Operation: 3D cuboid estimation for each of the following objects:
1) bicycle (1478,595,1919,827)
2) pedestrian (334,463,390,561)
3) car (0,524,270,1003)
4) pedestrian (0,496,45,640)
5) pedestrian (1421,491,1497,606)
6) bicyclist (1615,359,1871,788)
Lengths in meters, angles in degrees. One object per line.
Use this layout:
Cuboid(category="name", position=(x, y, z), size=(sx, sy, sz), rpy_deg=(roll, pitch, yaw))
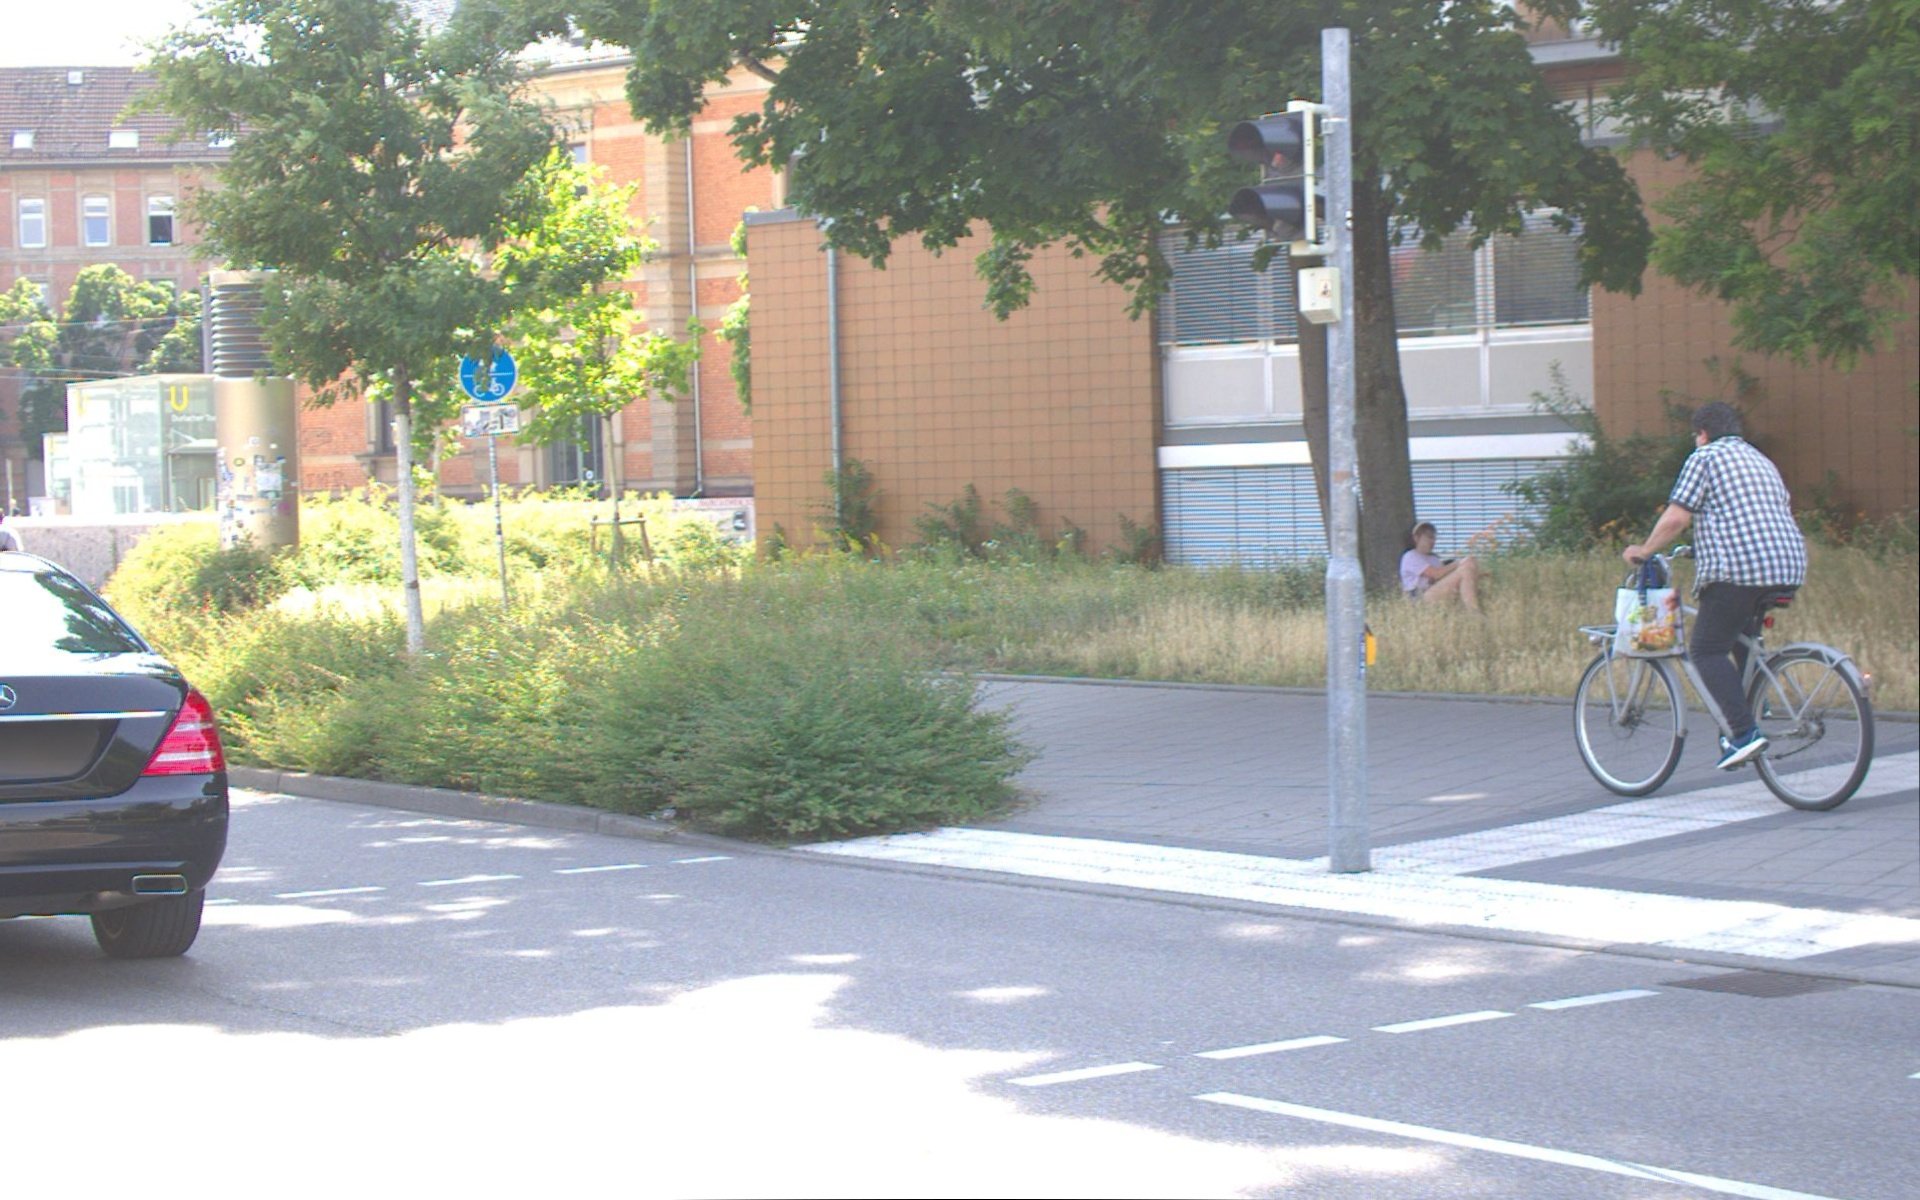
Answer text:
Cuboid(category="bicycle", position=(3.374, 0.478, 15.811), size=(0.693, 0.943, 1.957), rpy_deg=(-6, 4, -39))
Cuboid(category="pedestrian", position=(-10.171, -1.500, 58.456), size=(0.650, 1.655, 0.648), rpy_deg=(0, 2, 44))
Cuboid(category="car", position=(-4.352, 0.548, 13.140), size=(1.859, 1.525, 4.714), rpy_deg=(-3, 1, -31))
Cuboid(category="pedestrian", position=(-11.665, -0.385, 41.696), size=(0.871, 1.719, 0.800), rpy_deg=(-2, 2, -31))
Cuboid(category="pedestrian", position=(3.940, -0.407, 27.158), size=(0.392, 0.888, 0.429), rpy_deg=(-3, 2, -45))
Cuboid(category="bicyclist", position=(3.544, -0.131, 15.571), size=(0.686, 1.872, 0.859), rpy_deg=(-3, 2, -39))
